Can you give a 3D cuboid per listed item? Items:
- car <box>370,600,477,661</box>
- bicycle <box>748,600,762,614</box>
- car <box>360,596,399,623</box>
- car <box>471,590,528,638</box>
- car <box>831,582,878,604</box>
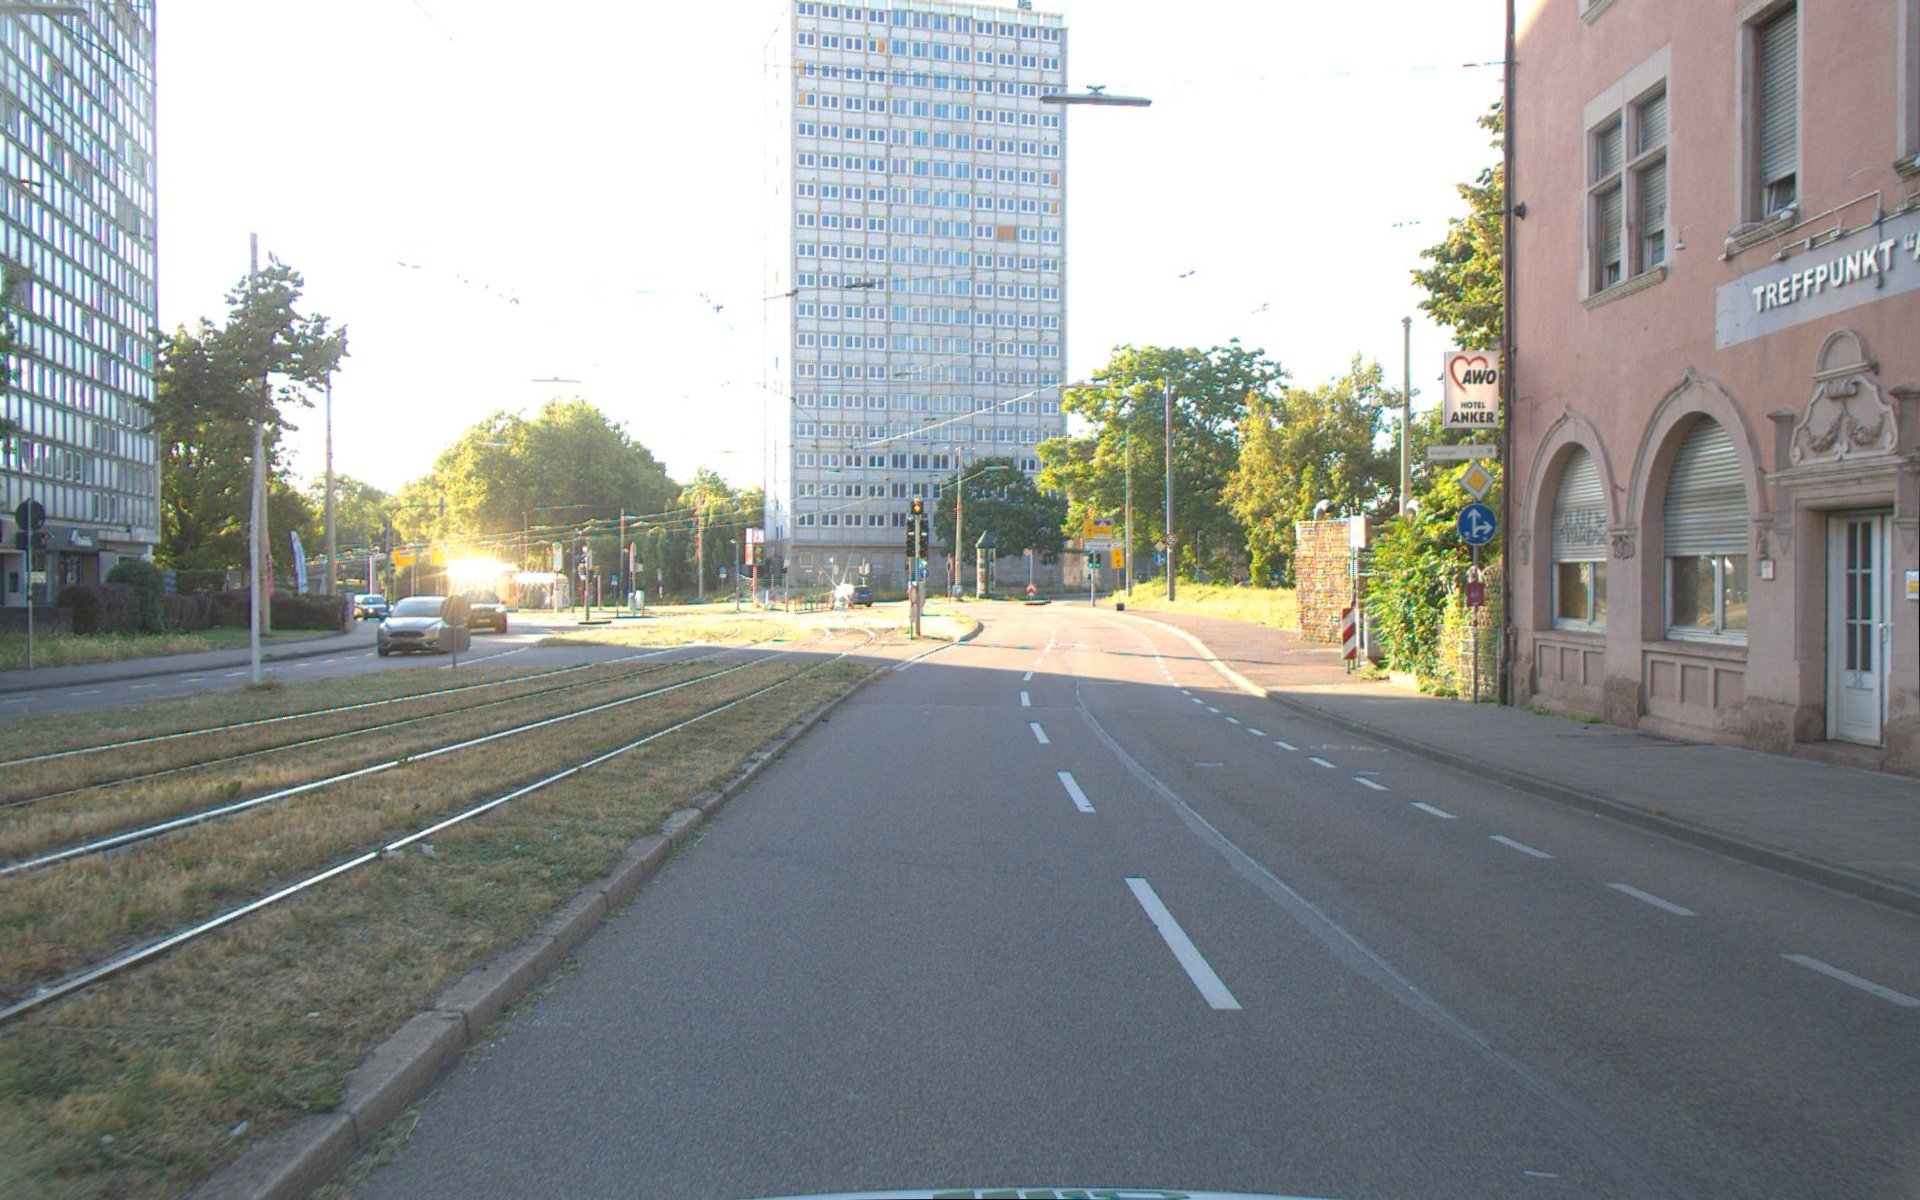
[{"bbox_3d":[-14.365,0.778,44.525,1.664,1.485,4.313,-2,0,-4],"label":"car"},{"bbox_3d":[-14.058,0.485,113.451,0.542,0.933,1.744,-3,1,4],"label":"bicycle"},{"bbox_3d":[-33.851,0.550,96.380,1.754,1.508,4.365,0,0,-25],"label":"car"},{"bbox_3d":[-18.082,0.512,65.101,1.885,1.691,4.693,-2,1,-13],"label":"car"},{"bbox_3d":[-7.216,-0.482,112.716,1.752,1.447,3.820,-2,1,-28],"label":"car"}]
